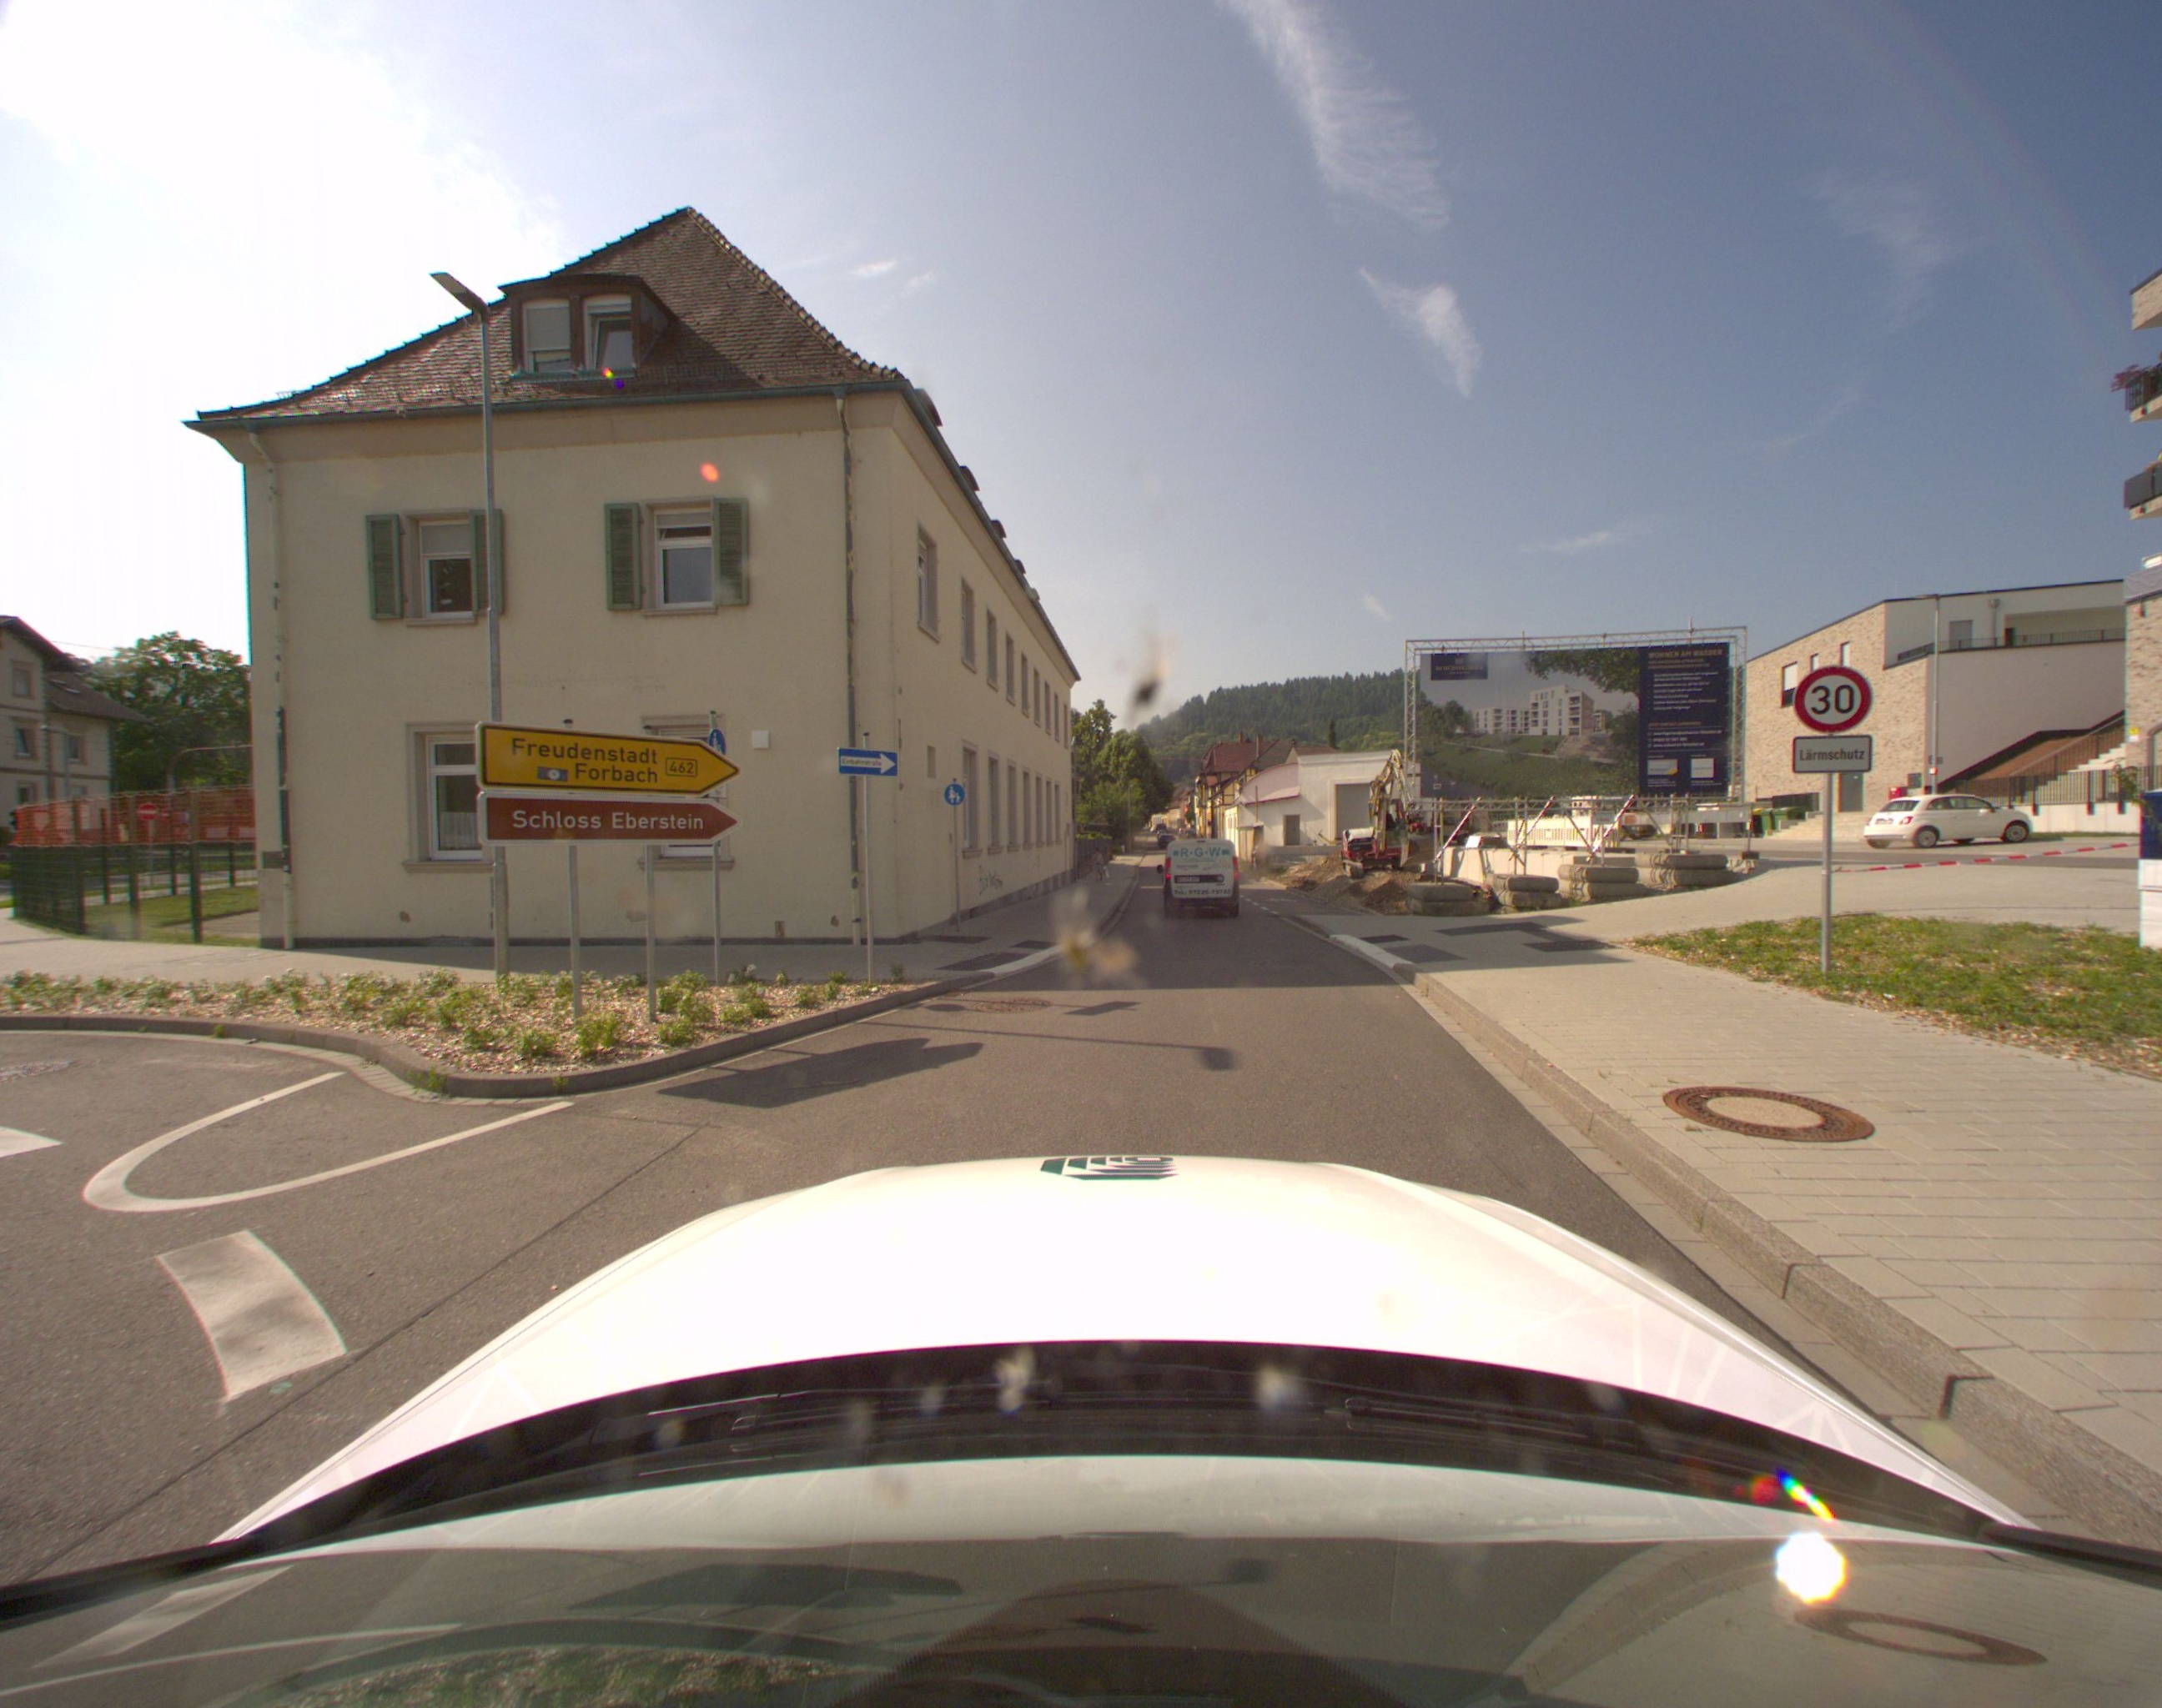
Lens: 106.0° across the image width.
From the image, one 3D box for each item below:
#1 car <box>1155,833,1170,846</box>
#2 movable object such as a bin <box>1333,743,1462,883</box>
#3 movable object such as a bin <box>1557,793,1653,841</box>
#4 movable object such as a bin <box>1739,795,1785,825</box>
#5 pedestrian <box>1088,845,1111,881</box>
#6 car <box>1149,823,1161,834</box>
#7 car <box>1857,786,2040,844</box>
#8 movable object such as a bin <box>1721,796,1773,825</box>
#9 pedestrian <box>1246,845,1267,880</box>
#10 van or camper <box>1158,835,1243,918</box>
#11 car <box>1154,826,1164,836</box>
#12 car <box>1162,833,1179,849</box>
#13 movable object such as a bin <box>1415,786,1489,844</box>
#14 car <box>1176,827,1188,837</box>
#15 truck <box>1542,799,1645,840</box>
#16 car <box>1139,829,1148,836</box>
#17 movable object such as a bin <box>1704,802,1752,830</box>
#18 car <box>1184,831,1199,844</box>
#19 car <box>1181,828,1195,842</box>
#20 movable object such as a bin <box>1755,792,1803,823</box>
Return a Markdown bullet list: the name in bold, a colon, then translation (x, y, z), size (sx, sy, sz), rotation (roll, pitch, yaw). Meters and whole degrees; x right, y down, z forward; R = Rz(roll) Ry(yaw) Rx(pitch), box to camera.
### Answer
- **car**: translation (10.528, -1.881, 105.641), size (1.803, 1.596, 3.932), rotation (2, 2, 4)
- **movable object such as a bin**: translation (9.966, -1.241, 26.501), size (2.281, 3.853, 7.820), rotation (2, 1, 9)
- **movable object such as a bin**: translation (30.583, -2.106, 47.712), size (4.567, 2.569, 1.937), rotation (-2, 0, 31)
- **movable object such as a bin**: translation (34.352, -2.227, 41.107), size (1.289, 1.463, 1.326), rotation (2, 3, 15)
- **pedestrian**: translation (0.871, 0.417, 38.358), size (0.953, 1.631, 0.759), rotation (2, 1, 5)
- **car**: translation (19.781, -6.757, 217.459), size (2.862, 2.835, 6.131), rotation (-1, 2, 4)
- **car**: translation (24.866, -1.084, 23.441), size (3.389, 1.495, 1.596), rotation (-2, 0, 4)
- **movable object such as a bin**: translation (34.907, -2.289, 42.705), size (1.680, 1.463, 1.326), rotation (2, 3, 15)
- **pedestrian**: translation (8.503, 0.395, 39.438), size (0.884, 1.683, 0.719), rotation (1, 0, 5)
- **van or camper**: translation (2.921, 0.531, 20.717), size (1.820, 1.844, 4.193), rotation (-2, 0, 4)
- **car**: translation (14.013, -4.139, 145.990), size (1.802, 1.596, 3.934), rotation (2, 2, 5)
- **car**: translation (9.851, -1.415, 89.543), size (1.802, 1.596, 3.934), rotation (2, 2, 5)
- **movable object such as a bin**: translation (24.377, -2.526, 53.328), size (2.823, 3.621, 5.772), rotation (3, 3, 40)
- **car**: translation (16.948, -3.721, 136.999), size (1.662, 1.507, 4.005), rotation (-1, 2, 4)
- **truck**: translation (31.964, -2.105, 50.955), size (5.263, 2.265, 2.233), rotation (-2, 1, 31)
- **car**: translation (17.714, -6.166, 230.738), size (1.769, 1.798, 3.993), rotation (-1, 2, -6)
- **movable object such as a bin**: translation (35.028, -2.066, 44.126), size (1.568, 1.463, 1.326), rotation (2, 3, 15)
- **car**: translation (14.983, -2.232, 110.387), size (1.801, 1.596, 3.934), rotation (2, 2, 6)
- **car**: translation (15.760, -2.852, 120.386), size (1.862, 2.013, 4.006), rotation (0, 2, 5)
- **movable object such as a bin**: translation (33.917, -2.272, 39.598), size (1.289, 1.463, 1.326), rotation (2, 3, 15)
